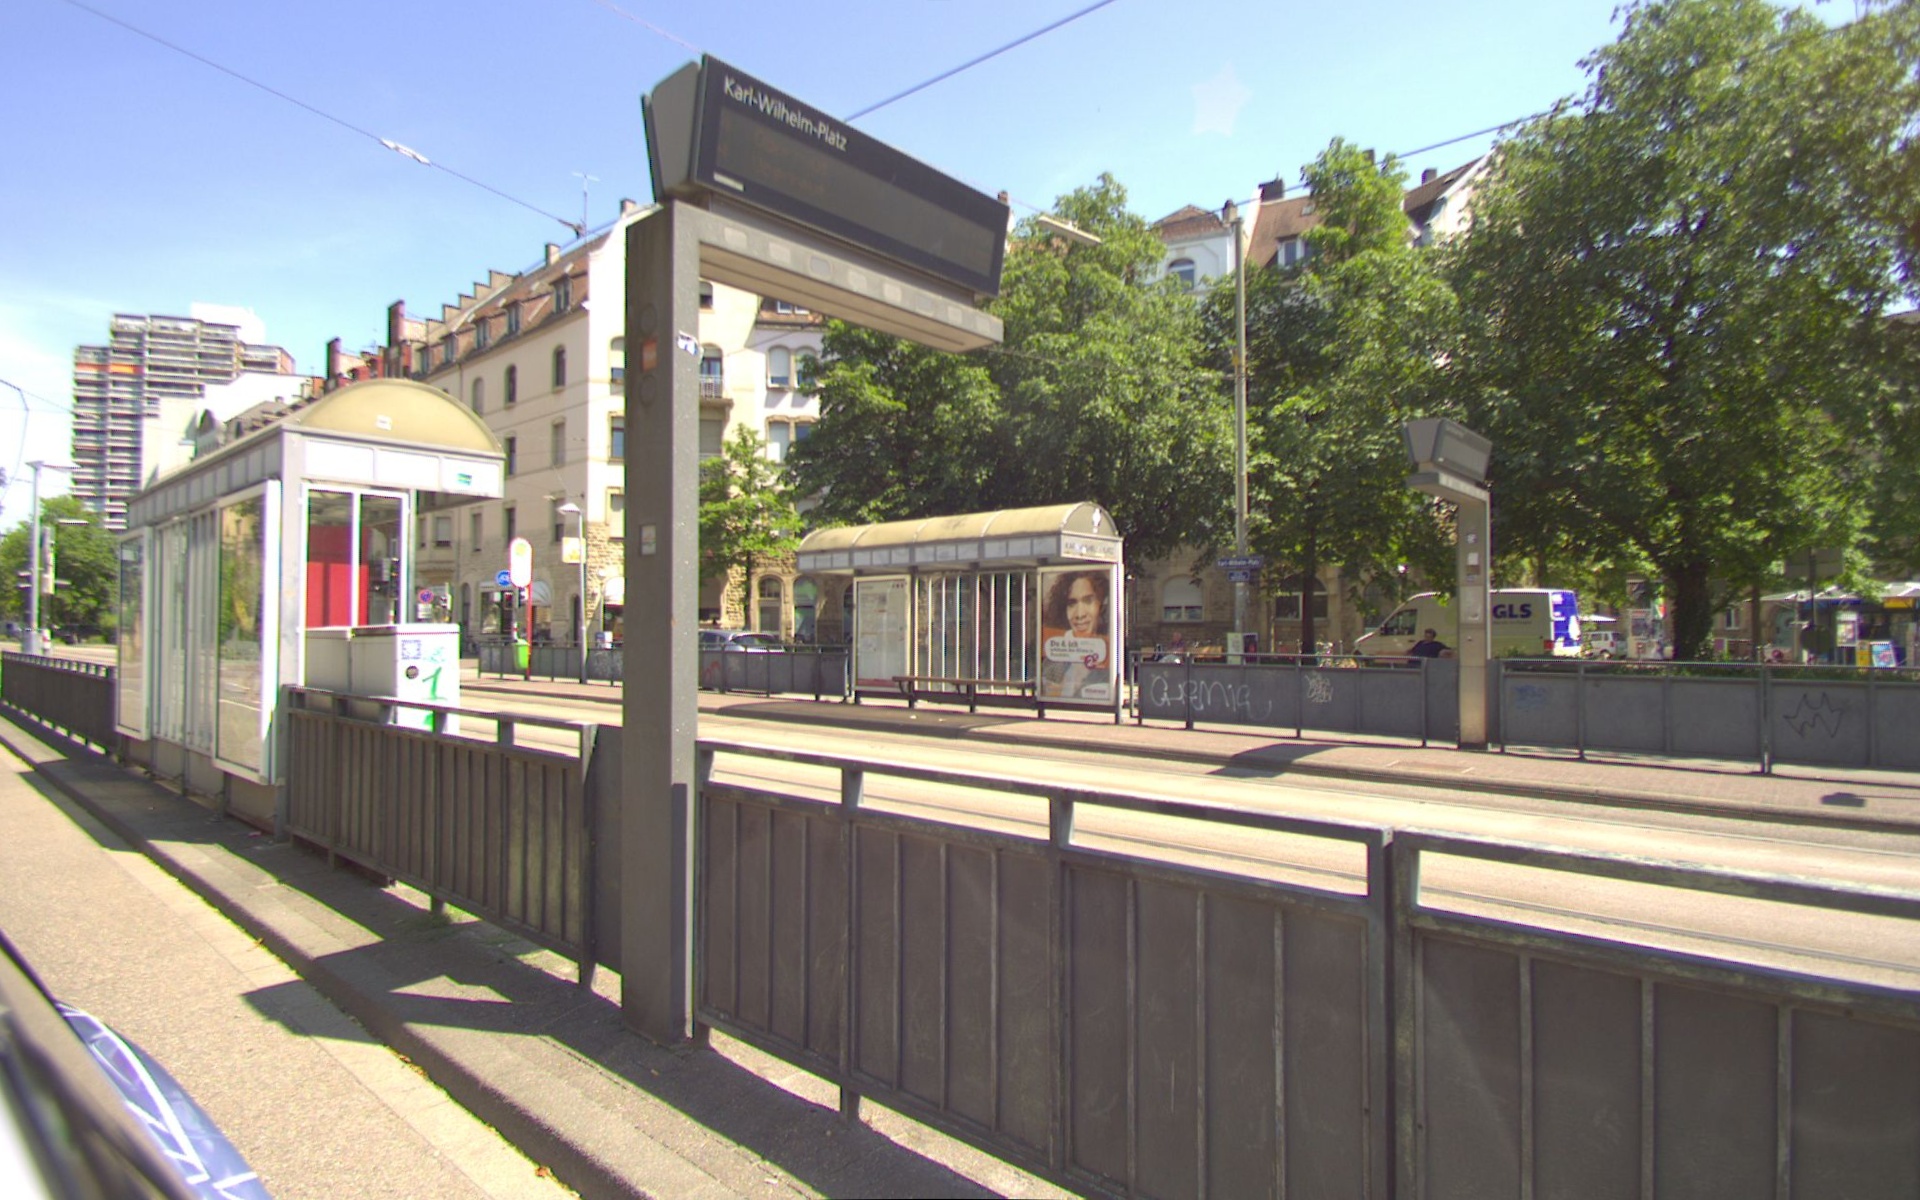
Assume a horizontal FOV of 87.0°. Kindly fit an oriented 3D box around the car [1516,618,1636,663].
[{"bbox_3d":[26.717,1.708,44.003,1.966,1.803,4.011,-1,0,-33],"label":"car"}]

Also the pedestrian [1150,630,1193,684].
[{"bbox_3d":[5.093,1.358,24.307,0.930,1.253,0.860,-1,0,17],"label":"pedestrian"}]

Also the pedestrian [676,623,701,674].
[{"bbox_3d":[-8.864,1.575,33.046,0.473,1.659,0.586,-2,-3,41],"label":"pedestrian"}]

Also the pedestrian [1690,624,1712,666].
[{"bbox_3d":[29.899,1.813,40.827,0.483,1.683,0.517,1,-2,-27],"label":"pedestrian"}]

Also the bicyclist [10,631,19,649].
[{"bbox_3d":[-101.293,4.268,108.399,0.715,1.889,0.636,-1,0,39],"label":"bicyclist"}]

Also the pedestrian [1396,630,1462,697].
[{"bbox_3d":[9.283,1.240,20.033,0.852,1.253,0.939,-1,0,-43],"label":"pedestrian"}]

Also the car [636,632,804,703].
[{"bbox_3d":[-5.598,1.491,23.353,3.998,1.404,1.789,-1,0,41],"label":"car"}]

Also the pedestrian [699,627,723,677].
[{"bbox_3d":[-7.984,1.662,32.486,0.473,1.563,0.586,-2,-3,39],"label":"pedestrian"}]

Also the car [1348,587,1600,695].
[{"bbox_3d":[14.057,1.029,28.076,2.237,2.693,5.840,-1,0,-38],"label":"car"}]

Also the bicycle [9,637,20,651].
[{"bbox_3d":[-101.287,4.716,108.409,1.969,1.524,0.636,-1,0,39],"label":"bicycle"}]

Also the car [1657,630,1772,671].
[{"bbox_3d":[35.786,2.353,48.096,1.736,1.721,3.998,-1,0,-33],"label":"car"}]
